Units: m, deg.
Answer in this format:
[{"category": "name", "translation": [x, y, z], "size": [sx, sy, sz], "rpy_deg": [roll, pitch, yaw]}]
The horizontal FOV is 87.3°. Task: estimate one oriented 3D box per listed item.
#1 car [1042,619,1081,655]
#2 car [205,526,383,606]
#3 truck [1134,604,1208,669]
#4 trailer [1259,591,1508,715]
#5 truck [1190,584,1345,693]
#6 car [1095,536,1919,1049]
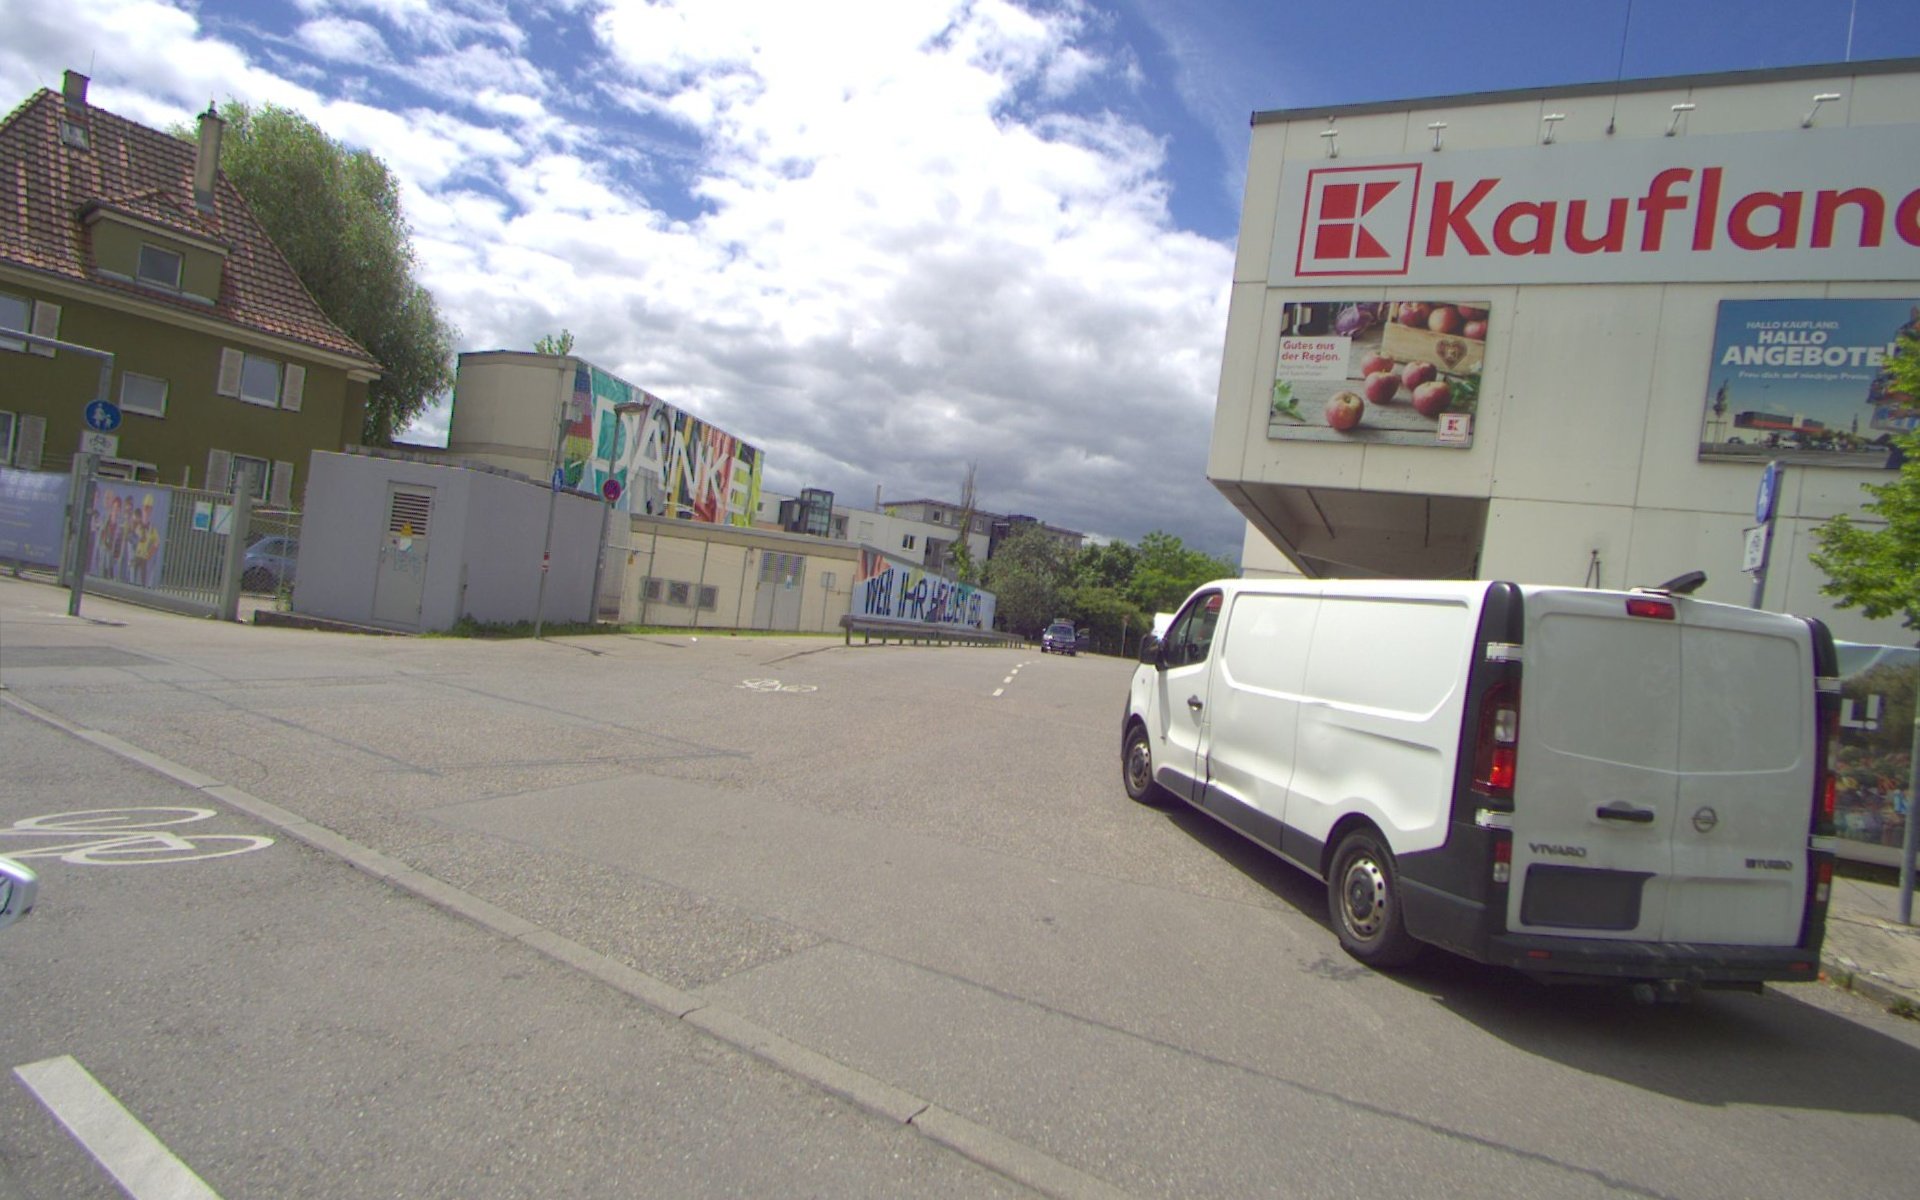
[{"category": "car", "translation": [5.500, 2.048, 54.722], "size": [1.838, 1.623, 3.978], "rpy_deg": [7, -2, 6]}, {"category": "car", "translation": [-17.880, -0.870, 27.156], "size": [1.631, 1.511, 3.512], "rpy_deg": [9, -1, 32]}, {"category": "truck", "translation": [13.080, 2.341, 61.956], "size": [2.370, 3.264, 7.428], "rpy_deg": [7, -3, 26]}, {"category": "trailer", "translation": [17.413, 2.166, 41.902], "size": [8.900, 3.906, 2.605], "rpy_deg": [7, -2, 22]}, {"category": "truck", "translation": [13.338, 1.677, 43.584], "size": [5.797, 3.906, 2.605], "rpy_deg": [7, -2, 22]}, {"category": "car", "translation": [2.720, 0.740, 6.835], "size": [1.965, 2.050, 5.338], "rpy_deg": [5, 2, -9]}]
